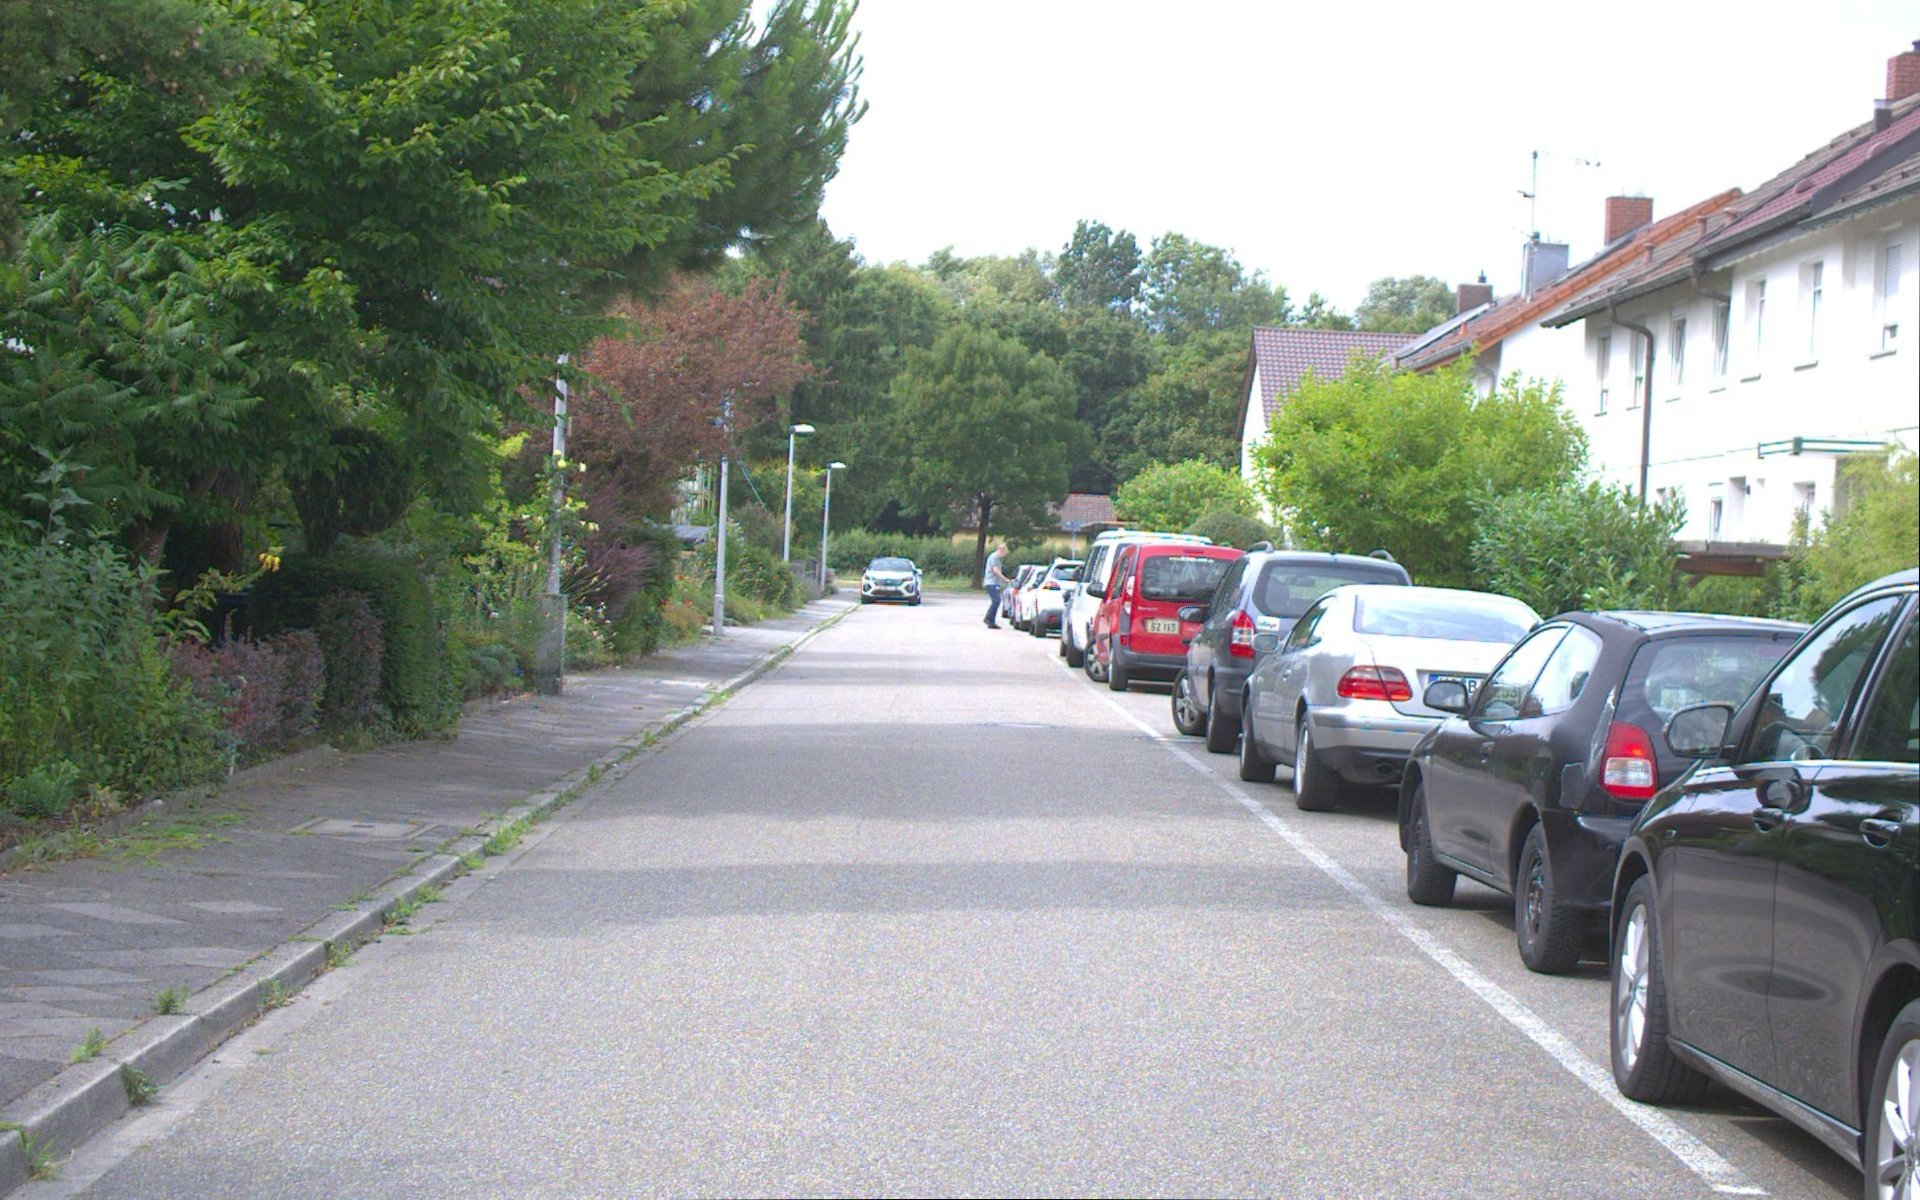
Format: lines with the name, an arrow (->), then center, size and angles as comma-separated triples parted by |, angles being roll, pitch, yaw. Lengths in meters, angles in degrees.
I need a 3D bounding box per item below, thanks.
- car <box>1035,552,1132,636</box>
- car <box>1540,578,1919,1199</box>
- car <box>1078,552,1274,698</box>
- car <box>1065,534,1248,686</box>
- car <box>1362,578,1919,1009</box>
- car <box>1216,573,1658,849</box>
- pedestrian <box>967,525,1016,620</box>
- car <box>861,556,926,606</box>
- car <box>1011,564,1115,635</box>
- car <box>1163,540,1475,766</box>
car -> 2.391, -0.138, 67.245 | 1.713, 1.538, 3.974 | 2, 1, 0
car -> 2.755, 0.731, 8.458 | 1.749, 1.462, 4.648 | 3, 1, -1
car -> 2.616, 0.265, 42.593 | 1.810, 1.645, 4.411 | 2, 1, -4
car -> 2.658, 0.097, 47.591 | 2.020, 1.940, 4.748 | 2, 1, -2
car -> 2.877, 0.677, 14.116 | 1.732, 1.423, 4.126 | 3, 1, -3
car -> 2.898, 0.617, 21.983 | 1.867, 1.402, 4.768 | 4, 1, -3
pedestrian -> 0.677, -0.596, 74.356 | 0.912, 2.007, 0.951 | 2, 1, -3
car -> -2.146, -0.630, 112.061 | 1.934, 1.551, 4.634 | 2, 1, 0
car -> 2.206, -0.031, 74.798 | 1.838, 1.408, 4.637 | 2, 1, -3
car -> 2.867, 0.370, 28.422 | 1.867, 1.648, 4.465 | 2, 1, -2
